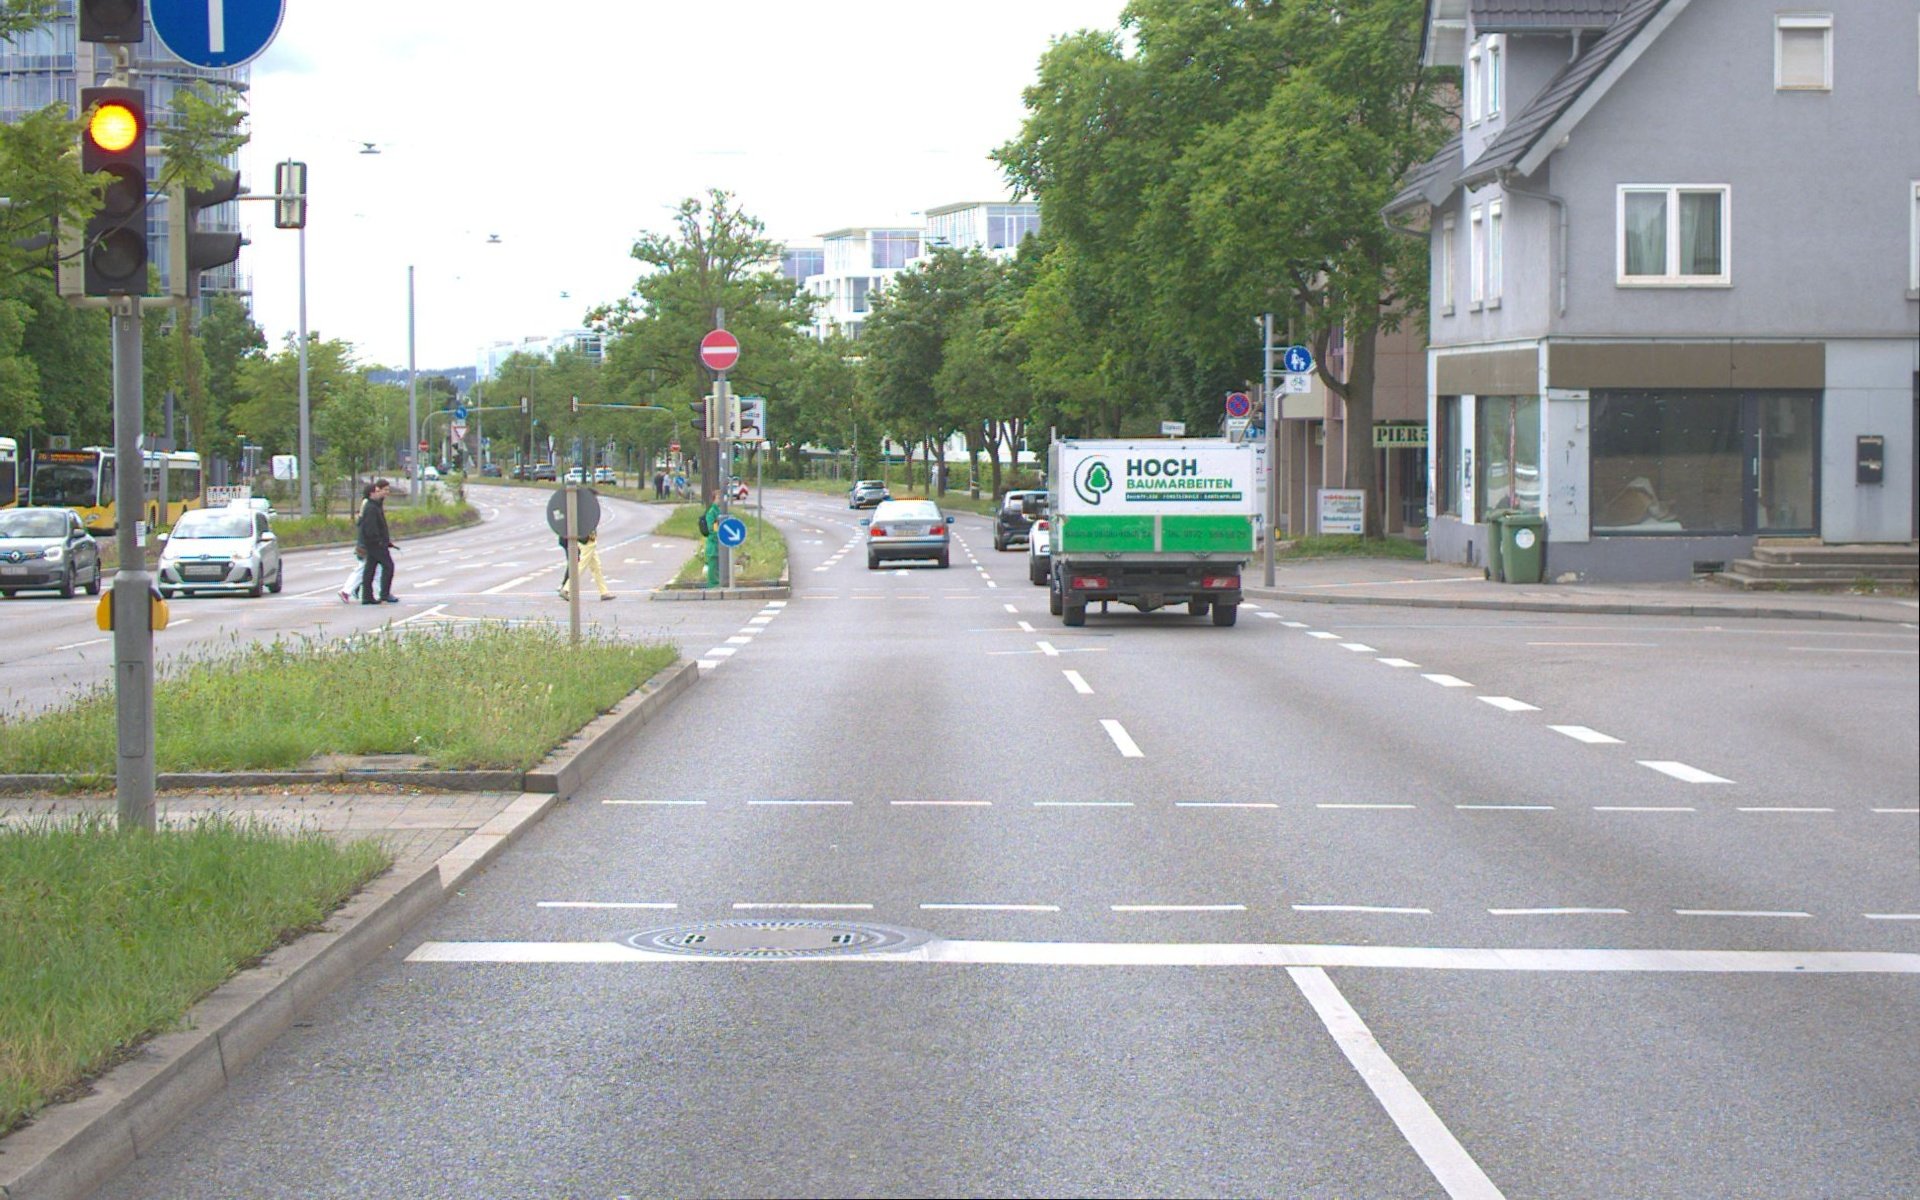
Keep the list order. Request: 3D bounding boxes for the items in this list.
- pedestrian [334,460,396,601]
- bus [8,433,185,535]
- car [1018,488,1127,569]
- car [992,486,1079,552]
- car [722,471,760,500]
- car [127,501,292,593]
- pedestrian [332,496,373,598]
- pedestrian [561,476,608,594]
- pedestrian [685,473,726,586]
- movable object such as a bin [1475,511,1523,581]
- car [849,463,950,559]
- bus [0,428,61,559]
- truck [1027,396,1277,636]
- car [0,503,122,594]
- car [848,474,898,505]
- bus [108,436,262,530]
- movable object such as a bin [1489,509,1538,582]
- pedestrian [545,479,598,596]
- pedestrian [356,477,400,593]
[{"bbox_3d":[-8.586,-1.007,49.609,0.829,2.007,0.546,-1,1,-7],"label":"pedestrian"},{"bbox_3d":[-30.293,-4.068,121.143,2.832,3.419,10.733,0,2,4],"label":"bus"},{"bbox_3d":[2.238,-1.457,69.164,1.993,1.546,4.001,1,2,-1],"label":"car"},{"bbox_3d":[1.849,-2.019,84.878,1.993,1.546,4.001,1,2,-1],"label":"car"},{"bbox_3d":[-11.694,-6.119,183.146,1.993,1.514,4.001,-1,2,-4],"label":"car"},{"bbox_3d":[-12.581,-0.918,57.870,1.993,1.481,4.001,-1,2,-2],"label":"car"},{"bbox_3d":[-8.918,-0.777,50.471,0.543,1.490,0.487,-1,1,-7],"label":"pedestrian"},{"bbox_3d":[-5.456,-0.944,49.957,0.653,1.710,0.452,-1,1,-7],"label":"pedestrian"},{"bbox_3d":[-3.871,-1.075,52.280,0.583,1.710,0.546,-1,1,-7],"label":"pedestrian"},{"bbox_3d":[8.075,-0.812,51.504,0.616,1.039,0.589,1,1,1],"label":"movable object such as a bin"},{"bbox_3d":[-1.219,-1.831,69.813,1.993,1.824,4.001,0,3,-1],"label":"car"},{"bbox_3d":[-26.571,-2.757,89.516,2.832,3.419,10.733,0,2,4],"label":"bus"},{"bbox_3d":[2.184,-1.088,41.249,2.470,2.602,6.549,1,3,-1],"label":"truck"},{"bbox_3d":[-15.672,-0.900,58.349,1.993,1.481,4.001,-1,2,-2],"label":"car"},{"bbox_3d":[-4.373,-5.515,171.890,1.993,1.546,4.001,-1,2,-9],"label":"car"},{"bbox_3d":[-29.610,-4.468,131.874,2.832,3.419,10.733,0,2,4],"label":"bus"},{"bbox_3d":[8.153,-0.812,50.649,0.604,1.056,0.589,1,1,1],"label":"movable object such as a bin"},{"bbox_3d":[-5.737,-0.921,50.748,0.745,1.710,0.583,-1,1,-7],"label":"pedestrian"},{"bbox_3d":[-8.651,-0.969,51.118,0.612,1.710,0.546,-1,1,-7],"label":"pedestrian"}]
